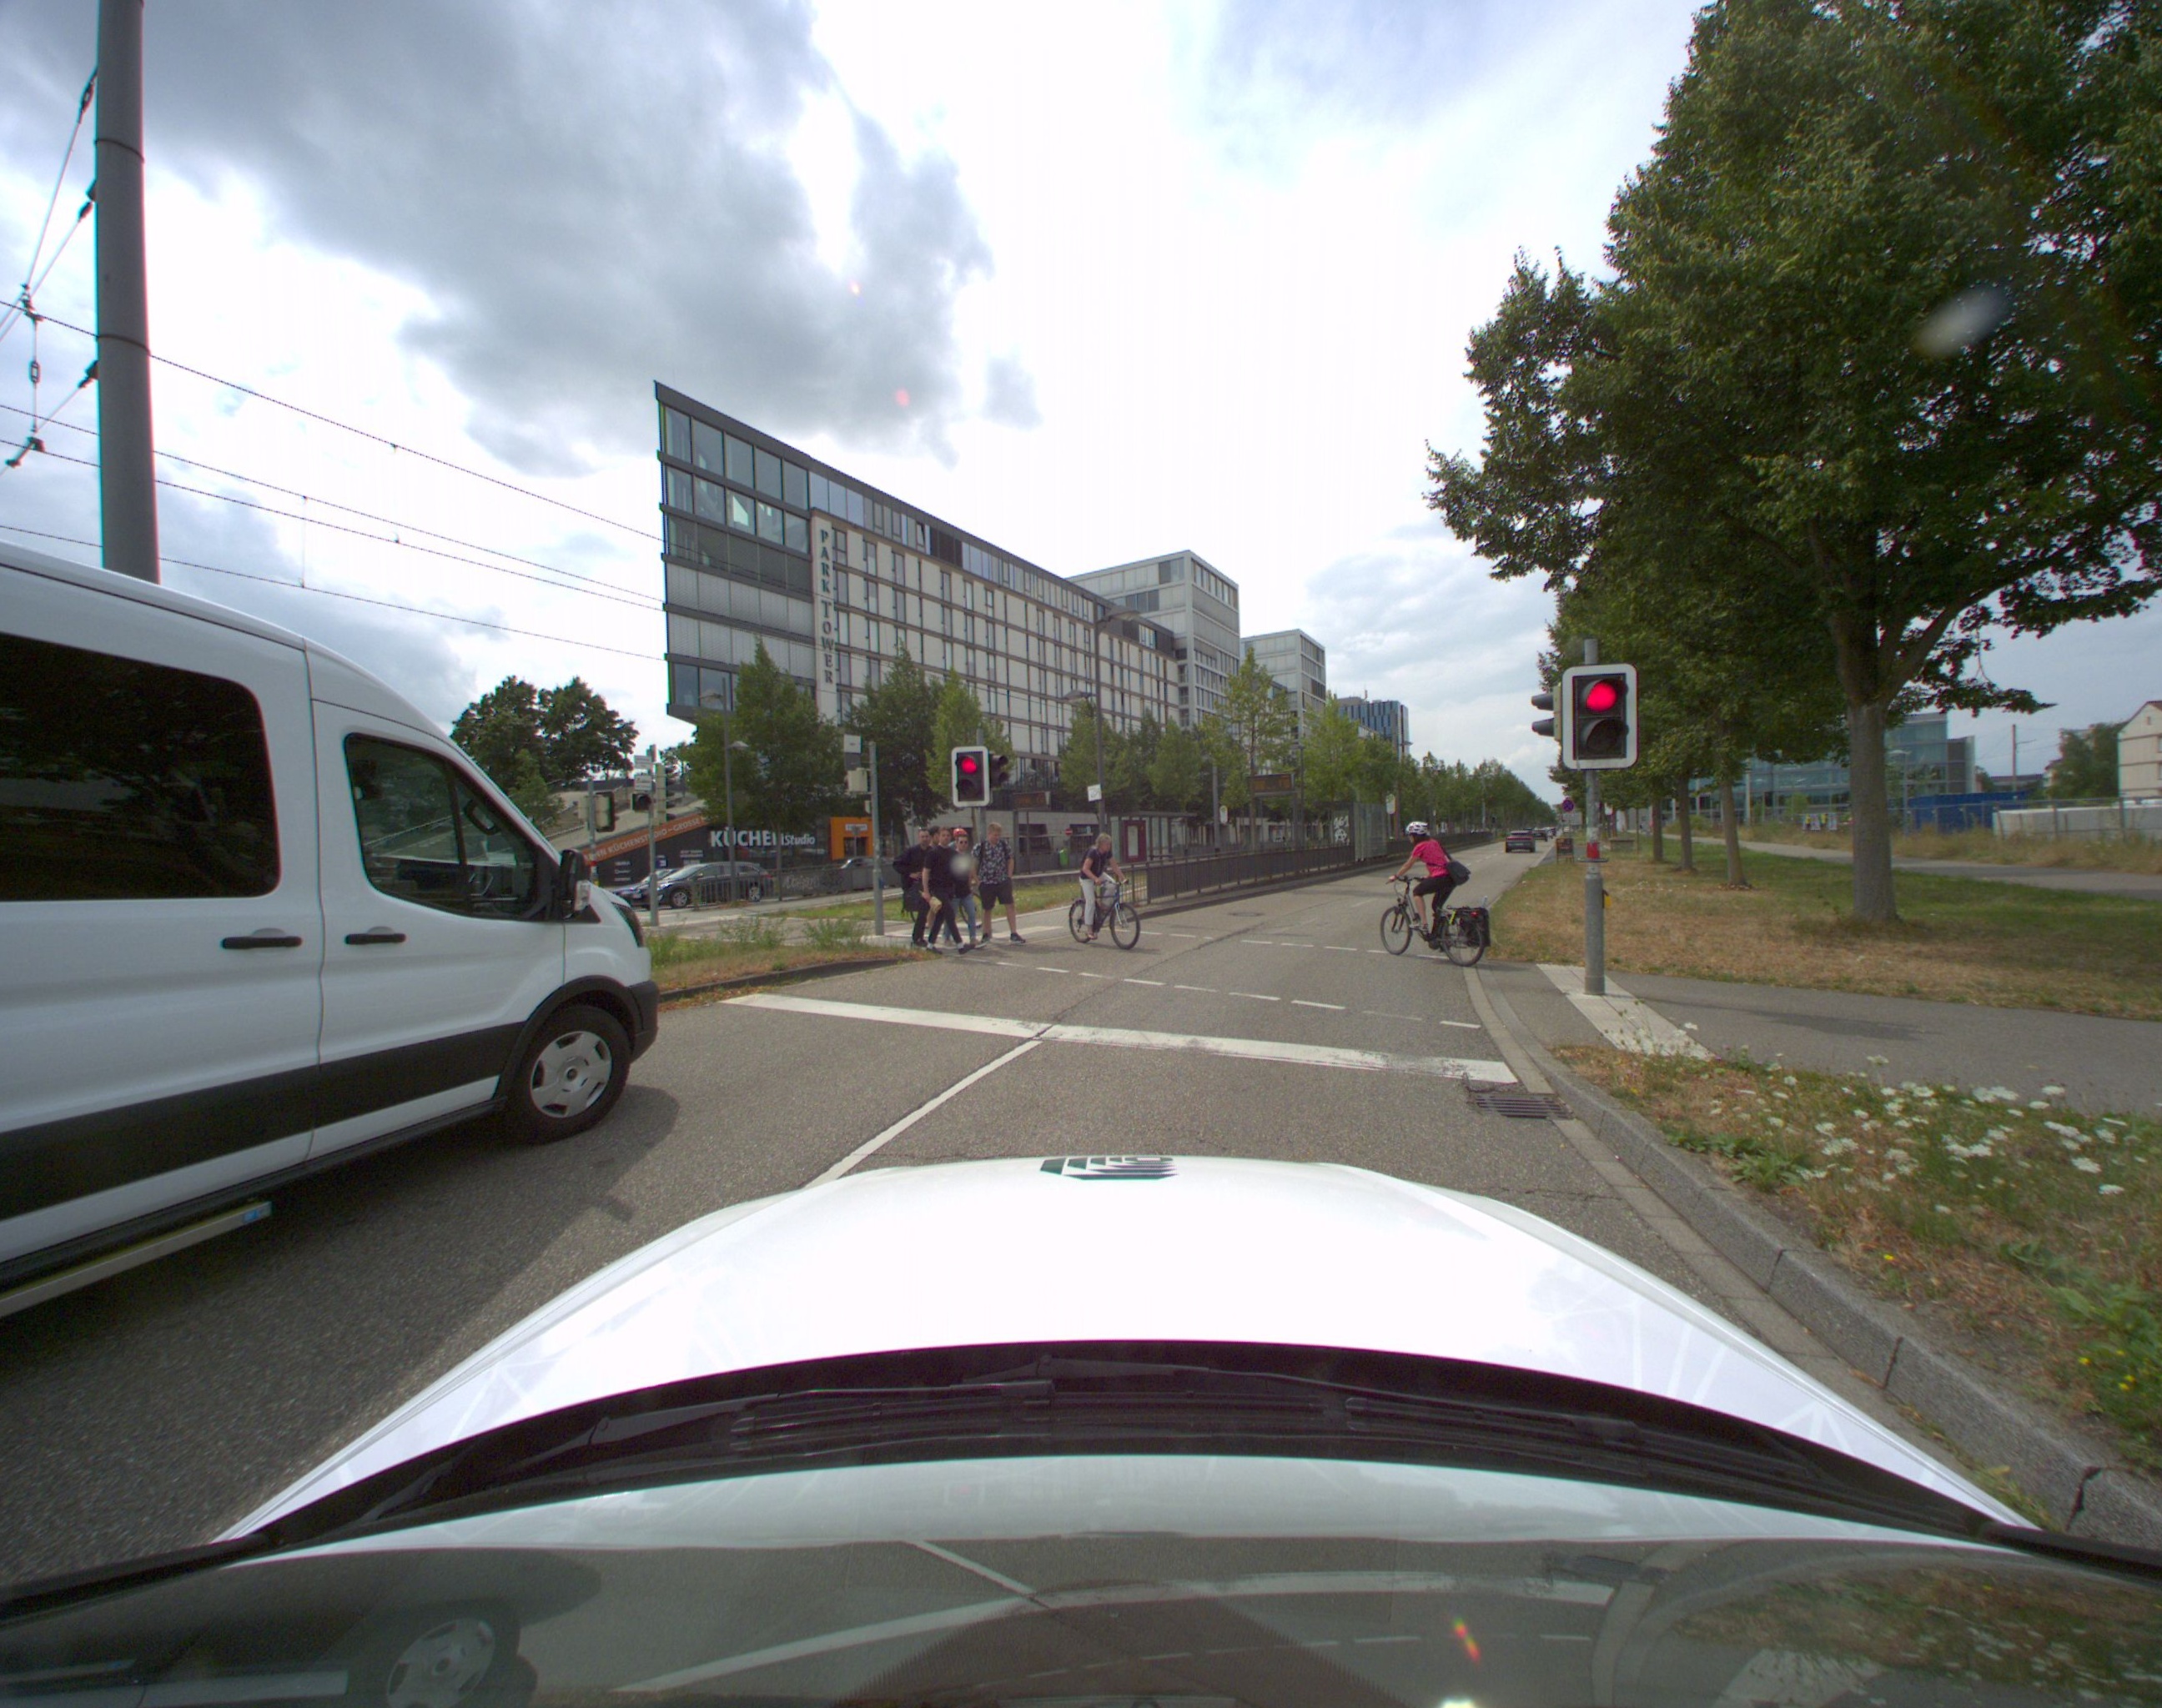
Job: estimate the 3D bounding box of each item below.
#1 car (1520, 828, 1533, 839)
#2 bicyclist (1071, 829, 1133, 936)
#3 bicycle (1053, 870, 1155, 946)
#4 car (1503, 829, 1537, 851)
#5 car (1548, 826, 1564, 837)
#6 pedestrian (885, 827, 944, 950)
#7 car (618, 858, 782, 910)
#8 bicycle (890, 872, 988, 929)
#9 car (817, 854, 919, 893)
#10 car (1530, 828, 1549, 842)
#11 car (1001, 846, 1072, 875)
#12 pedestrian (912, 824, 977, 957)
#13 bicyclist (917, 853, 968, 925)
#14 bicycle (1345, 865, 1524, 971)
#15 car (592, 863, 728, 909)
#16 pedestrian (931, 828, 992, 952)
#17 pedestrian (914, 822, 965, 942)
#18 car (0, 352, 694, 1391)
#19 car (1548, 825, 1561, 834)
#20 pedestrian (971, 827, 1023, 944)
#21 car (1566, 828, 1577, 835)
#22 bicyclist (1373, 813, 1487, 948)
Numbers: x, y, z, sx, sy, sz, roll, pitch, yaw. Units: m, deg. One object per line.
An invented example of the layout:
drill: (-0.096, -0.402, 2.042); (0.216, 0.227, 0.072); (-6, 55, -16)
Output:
car: (70.201, -3.232, 128.319); (1.710, 1.534, 4.399); (-1, 1, 29)
bicyclist: (0.314, 0.418, 12.482); (0.563, 1.580, 0.756); (-2, 0, -41)
bicycle: (0.326, 0.793, 12.488); (0.551, 1.058, 1.693); (-2, 1, -41)
car: (32.092, -1.052, 59.463); (2.038, 1.551, 4.503); (-1, 1, 30)
car: (68.401, -3.257, 117.325); (1.807, 1.462, 4.287); (-1, 1, 29)
pedestrian: (-2.498, 0.503, 12.260); (0.546, 1.781, 0.637); (-1, 0, 26)
car: (-12.776, 0.954, 27.615); (1.825, 1.458, 4.768); (-1, 1, 33)
bicycle: (-2.694, 0.858, 15.409); (1.735, 1.007, 0.658); (-1, 0, 25)
car: (-9.029, 0.804, 34.789); (1.825, 1.458, 4.026); (-1, 1, 33)
car: (54.258, -2.254, 96.407); (1.719, 1.519, 4.173); (-1, 1, 32)
car: (-2.368, 0.312, 44.322); (1.825, 1.458, 4.026); (-1, 1, 33)
pedestrian: (-1.896, 0.489, 11.348); (0.546, 1.781, 0.694); (-1, 0, 26)
bicyclist: (-2.601, 0.643, 15.373); (0.667, 1.317, 0.644); (-1, 0, 26)
bicycle: (4.485, 0.752, 10.488); (0.794, 1.168, 2.022); (-2, 1, -30)
car: (-15.400, 1.116, 29.959); (1.825, 1.458, 4.026); (-1, 1, 33)
pedestrian: (-1.772, 0.510, 12.120); (0.546, 1.781, 0.694); (-1, 0, 26)
pedestrian: (-2.241, 0.437, 12.960); (0.546, 1.862, 0.534); (-1, 0, 26)
car: (-3.842, 0.058, 2.351); (2.115, 2.697, 5.643); (-2, 1, 7)
car: (80.995, -4.168, 139.318); (1.779, 1.497, 4.143); (-1, 1, 29)
pedestrian: (-1.307, 0.477, 12.704); (0.546, 1.781, 0.584); (-1, 0, 26)
car: (110.203, -5.068, 182.956); (1.974, 1.618, 4.783); (-2, 1, 34)
bicyclist: (4.475, 0.310, 10.483); (0.794, 1.627, 1.039); (-2, 1, -31)
